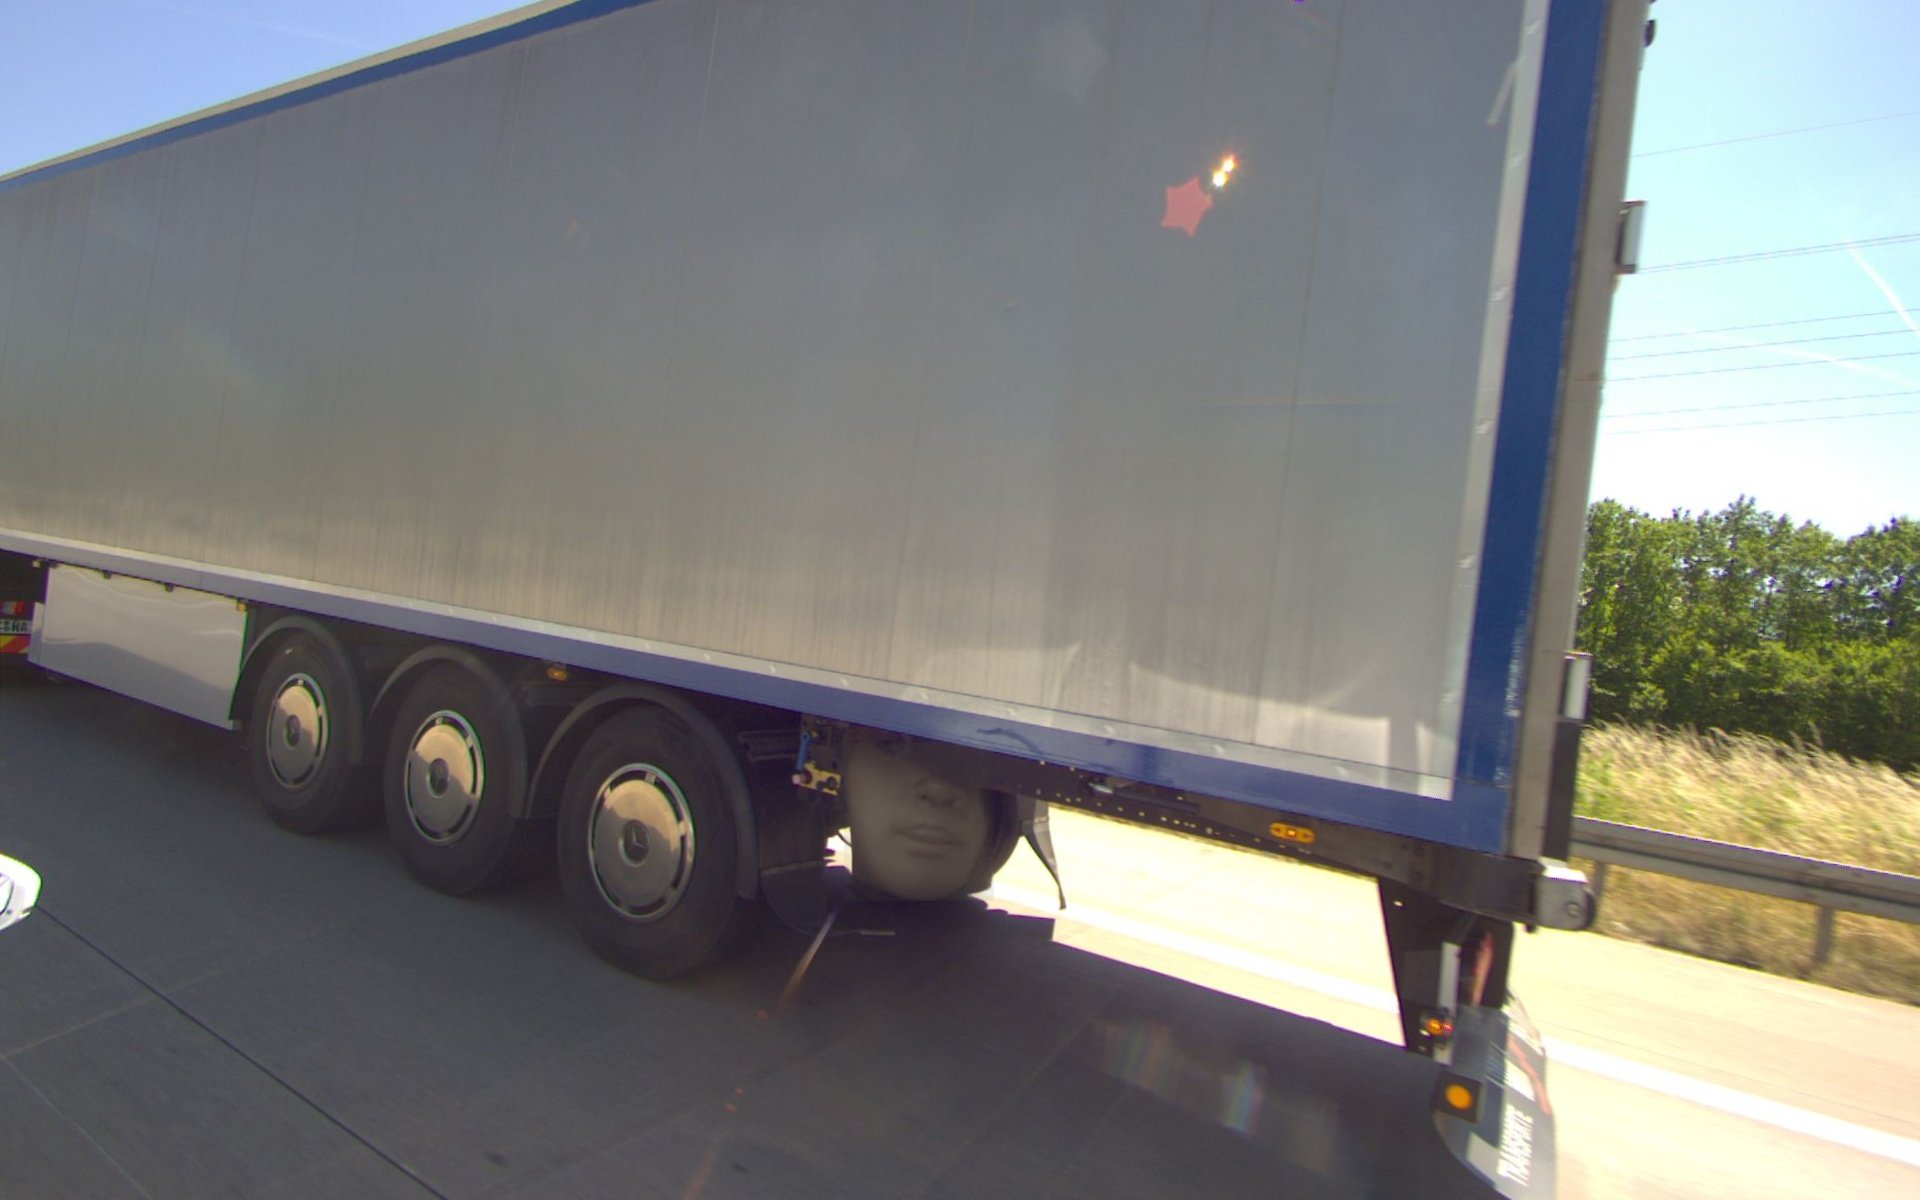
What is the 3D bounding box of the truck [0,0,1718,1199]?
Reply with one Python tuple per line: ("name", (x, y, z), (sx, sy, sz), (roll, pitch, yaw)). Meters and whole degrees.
("truck", (-5.283, -1.784, 8.130), (17.940, 5.848, 3.589), (7, -3, 31))
